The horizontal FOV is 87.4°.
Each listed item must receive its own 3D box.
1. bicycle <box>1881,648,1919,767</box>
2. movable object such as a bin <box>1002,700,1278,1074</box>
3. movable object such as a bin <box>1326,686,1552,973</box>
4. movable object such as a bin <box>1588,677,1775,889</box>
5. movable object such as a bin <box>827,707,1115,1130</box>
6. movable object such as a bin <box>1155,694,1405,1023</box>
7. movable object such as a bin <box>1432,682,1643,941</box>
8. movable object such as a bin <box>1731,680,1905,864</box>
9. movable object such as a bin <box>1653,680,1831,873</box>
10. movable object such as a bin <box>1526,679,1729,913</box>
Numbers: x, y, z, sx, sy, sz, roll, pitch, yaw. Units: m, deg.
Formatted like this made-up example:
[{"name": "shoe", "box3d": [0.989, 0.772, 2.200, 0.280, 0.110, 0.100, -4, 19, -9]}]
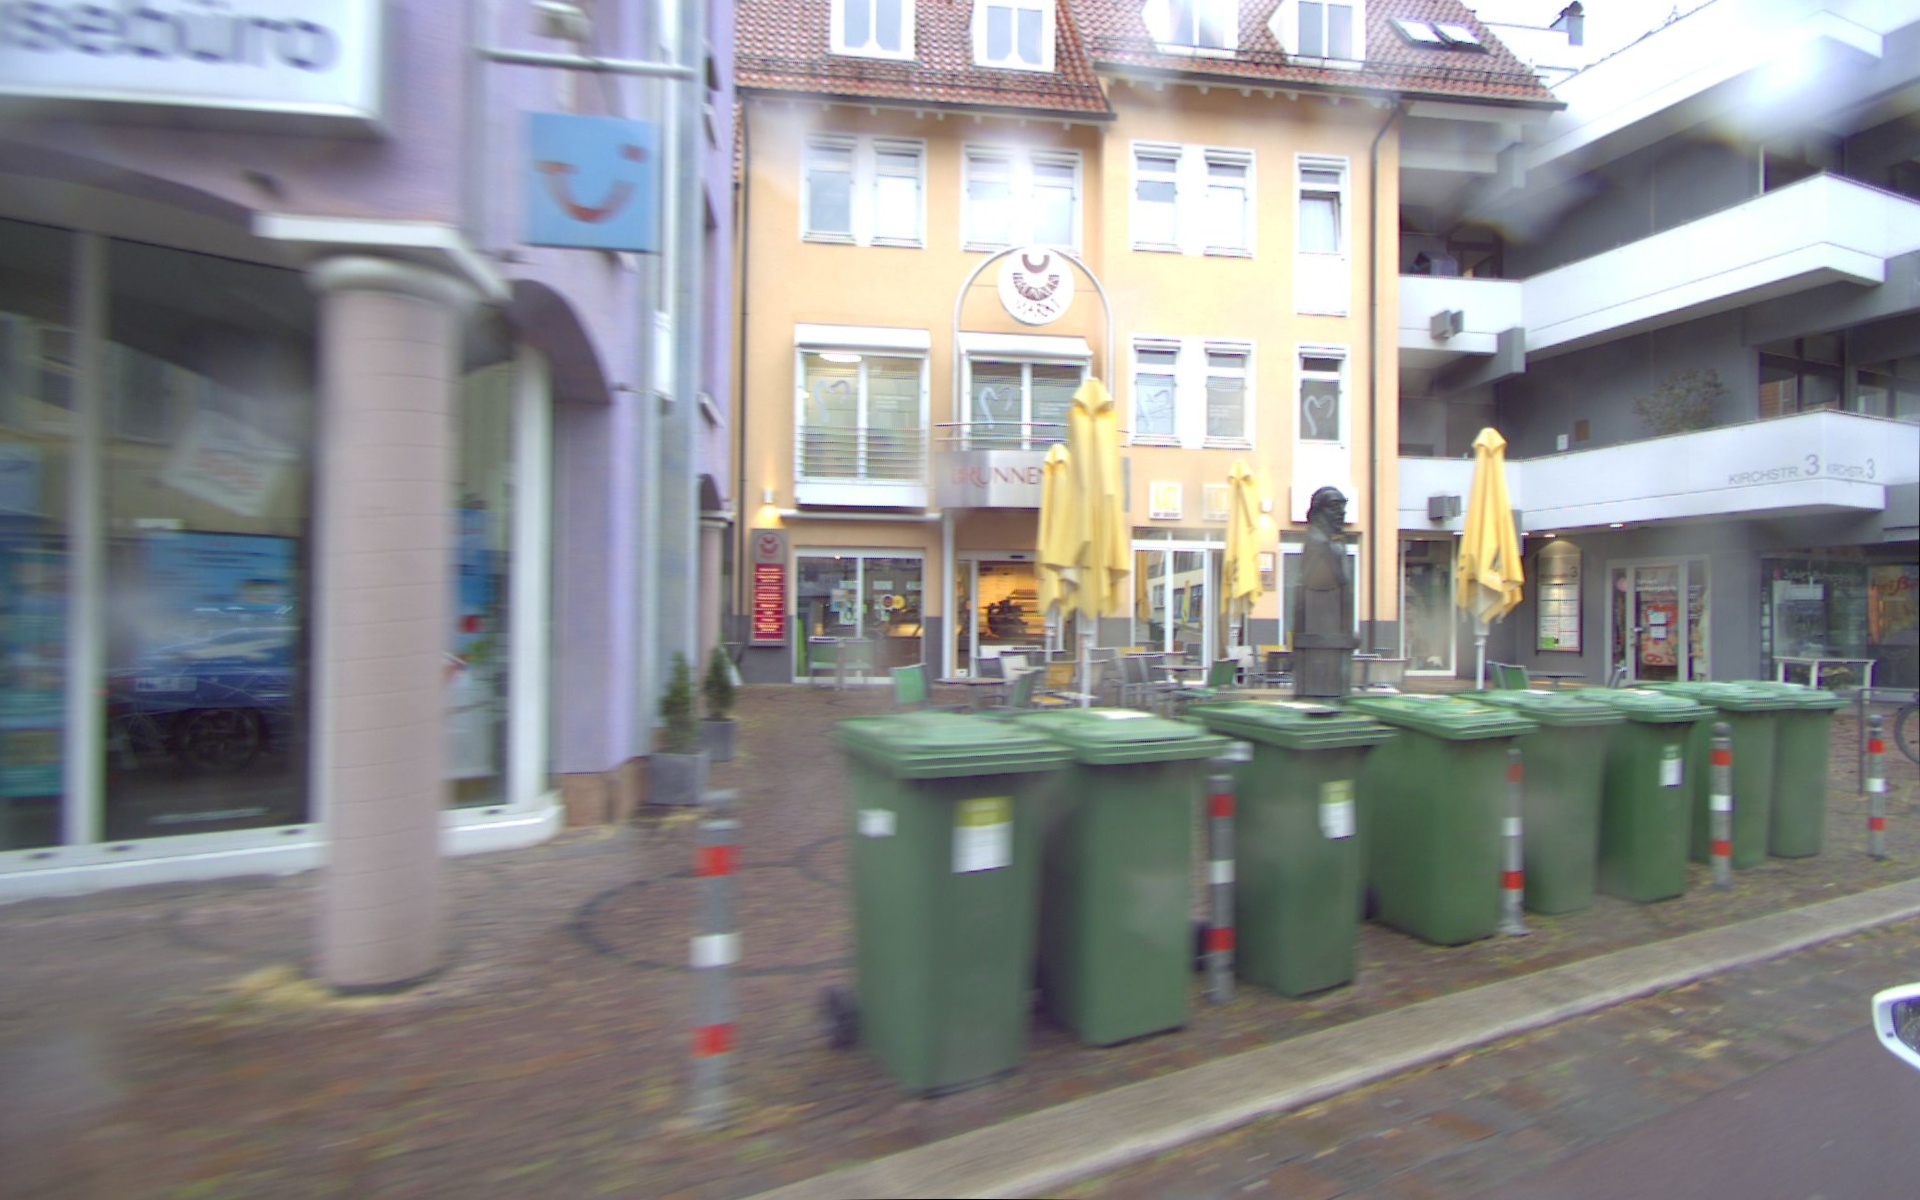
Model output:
[{"name": "bicycle", "box3d": [10.139, 1.091, 9.744, 0.441, 1.180, 1.730, 3, -2, -41]}, {"name": "movable object such as a bin", "box3d": [0.638, 0.950, 3.646, 0.704, 1.101, 0.683, 1, -1, -31]}, {"name": "movable object such as a bin", "box3d": [2.188, 0.987, 4.616, 0.662, 1.120, 0.683, 1, -1, -31]}, {"name": "movable object such as a bin", "box3d": [4.218, 1.021, 5.888, 0.662, 1.091, 0.683, 1, -1, -31]}, {"name": "movable object such as a bin", "box3d": [0.019, 0.935, 3.264, 0.669, 1.092, 0.683, 1, -1, -31]}, {"name": "movable object such as a bin", "box3d": [1.267, 0.957, 4.024, 0.662, 1.095, 0.683, 1, -1, -31]}, {"name": "movable object such as a bin", "box3d": [2.892, 1.004, 5.053, 0.662, 1.120, 0.683, 1, -1, -31]}, {"name": "movable object such as a bin", "box3d": [5.553, 1.072, 6.513, 0.662, 1.053, 0.683, 1, -1, -31]}, {"name": "movable object such as a bin", "box3d": [4.859, 1.055, 6.255, 0.662, 1.056, 0.683, 1, -1, -31]}, {"name": "movable object such as a bin", "box3d": [3.551, 0.992, 5.365, 0.662, 1.088, 0.683, 1, -1, -31]}]
